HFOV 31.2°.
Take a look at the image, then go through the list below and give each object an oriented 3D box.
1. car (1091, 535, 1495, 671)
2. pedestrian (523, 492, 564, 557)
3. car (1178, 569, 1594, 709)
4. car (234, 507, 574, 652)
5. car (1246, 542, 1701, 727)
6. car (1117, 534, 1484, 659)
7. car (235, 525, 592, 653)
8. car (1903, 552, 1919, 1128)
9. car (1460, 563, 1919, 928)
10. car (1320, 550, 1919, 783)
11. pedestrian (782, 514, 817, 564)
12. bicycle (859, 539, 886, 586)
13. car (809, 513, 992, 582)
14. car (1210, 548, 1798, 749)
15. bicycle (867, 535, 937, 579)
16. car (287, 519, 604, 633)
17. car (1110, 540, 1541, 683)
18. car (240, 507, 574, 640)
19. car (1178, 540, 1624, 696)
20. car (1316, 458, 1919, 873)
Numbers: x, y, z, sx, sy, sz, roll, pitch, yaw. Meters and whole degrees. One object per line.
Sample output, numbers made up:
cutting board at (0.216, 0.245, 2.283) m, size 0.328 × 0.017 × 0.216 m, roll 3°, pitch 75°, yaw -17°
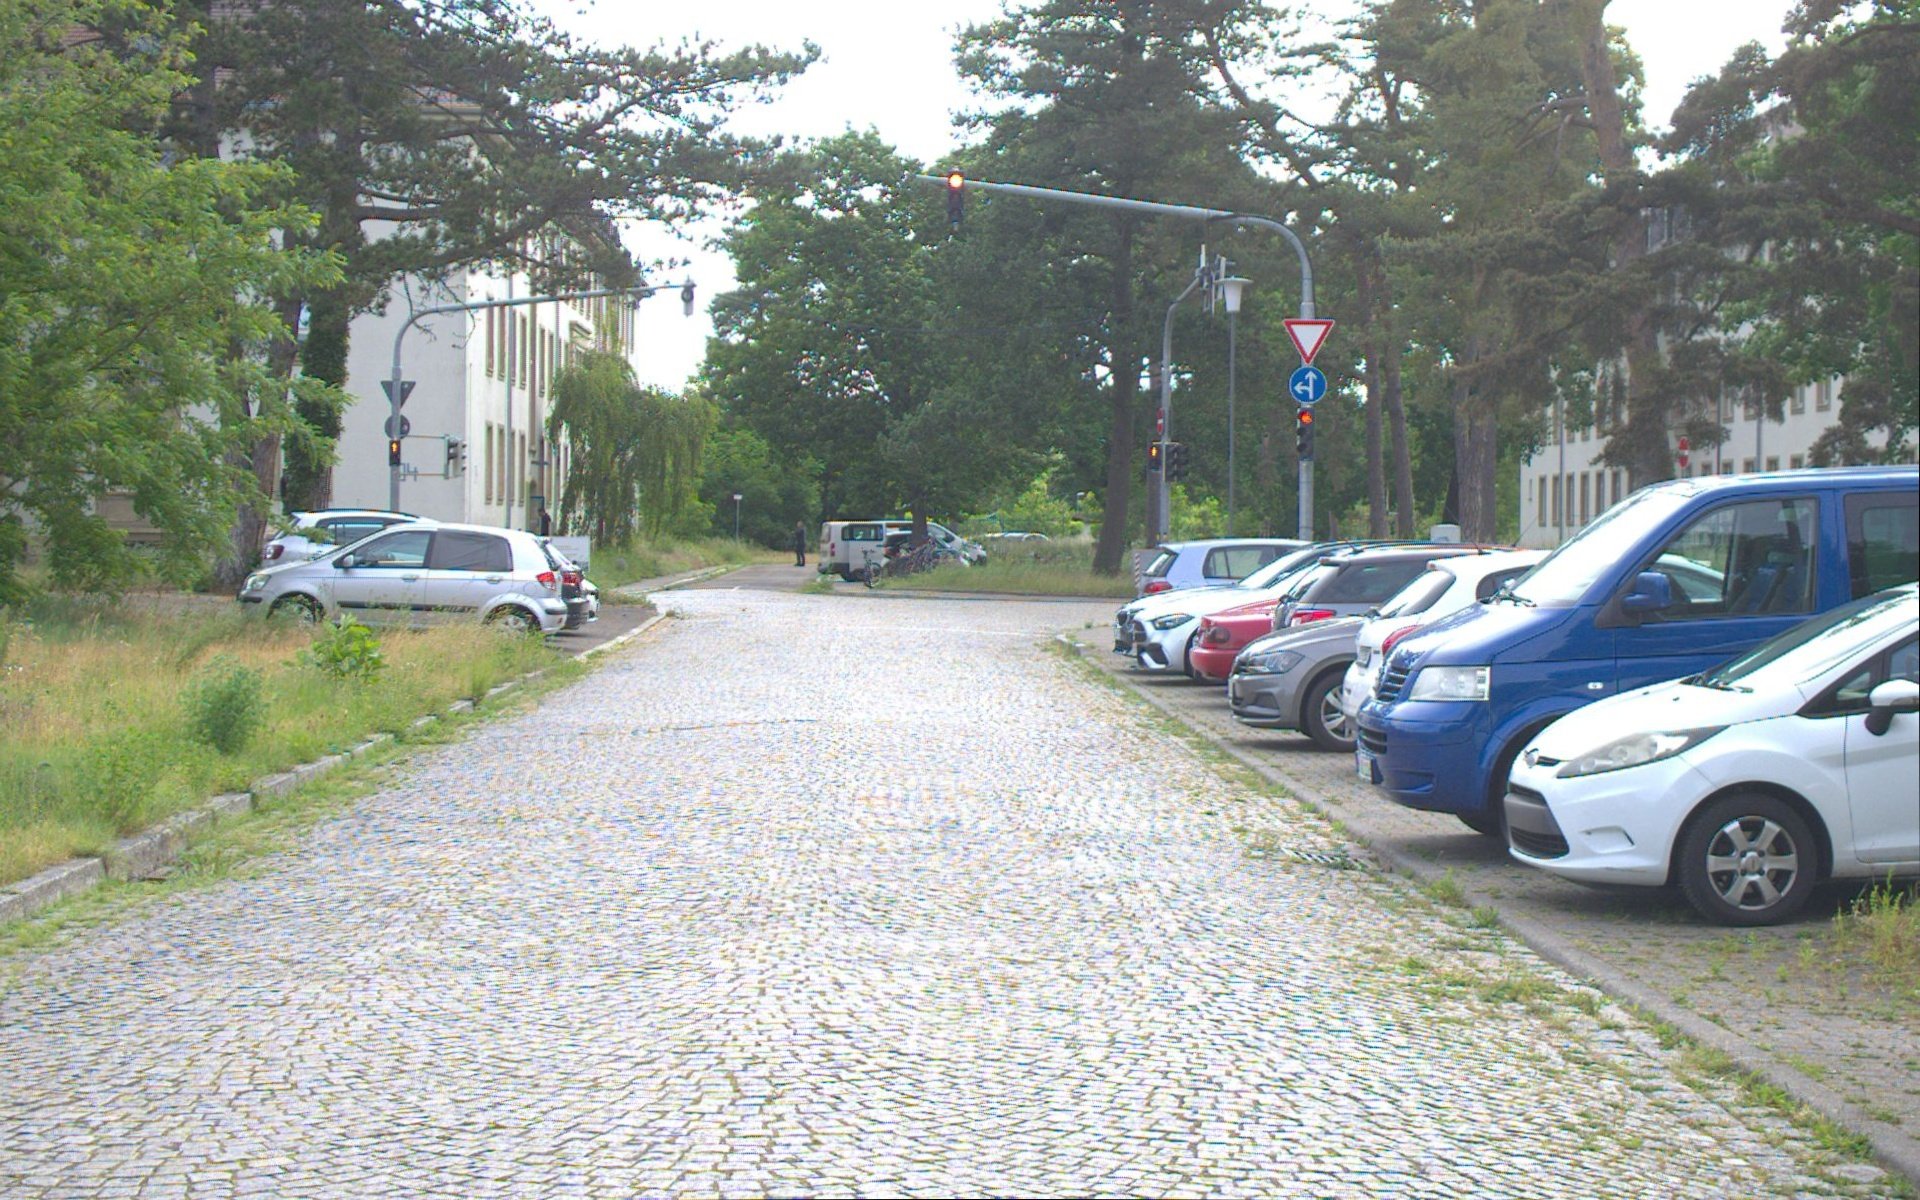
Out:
car at (3.737, 0.007, 38.842) m, size 4.227 × 1.474 × 1.710 m, roll 0°, pitch 1°, yaw -12°
pedestrian at (-12.792, -2.326, 105.658) m, size 1.074 × 1.952 × 1.121 m, roll 2°, pitch 1°, yaw -1°
car at (3.840, 0.339, 31.375) m, size 3.586 × 1.218 × 1.628 m, roll 0°, pitch 1°, yaw 0°
car at (-6.462, -0.252, 40.243) m, size 3.720 × 1.475 × 1.673 m, roll 3°, pitch 1°, yaw -4°
car at (4.242, 0.266, 28.755) m, size 3.505 × 1.482 × 1.743 m, roll 0°, pitch 1°, yaw -2°
car at (4.068, -0.062, 41.402) m, size 4.134 × 1.458 × 1.634 m, roll 0°, pitch 1°, yaw -6°
car at (-6.770, -0.160, 42.836) m, size 4.297 × 1.548 × 1.812 m, roll 0°, pitch 1°, yaw -7°
car at (4.803, 0.681, 8.782) m, size 4.203 × 1.589 × 1.953 m, roll 0°, pitch 1°, yaw -3°
car at (4.414, 0.585, 15.132) m, size 4.097 × 1.473 × 1.722 m, roll 0°, pitch 1°, yaw -4°
car at (4.343, 0.412, 22.985) m, size 3.653 × 1.473 × 1.766 m, roll 0°, pitch 1°, yaw -2°
pedestrian at (-6.457, -2.439, 138.049) m, size 1.239 × 1.952 × 1.121 m, roll 2°, pitch 1°, yaw -7°
bicycle at (-2.259, -0.968, 88.758) m, size 0.663 × 1.167 × 1.888 m, roll 2°, pitch 1°, yaw -1°
car at (-1.884, -1.653, 108.202) m, size 5.374 × 2.094 × 2.179 m, roll 1°, pitch 1°, yaw -13°
car at (4.022, 0.337, 25.883) m, size 4.130 × 1.442 × 1.766 m, roll 0°, pitch 1°, yaw -1°
bicycle at (-1.635, -1.225, 96.902) m, size 1.881 × 1.167 × 0.665 m, roll 2°, pitch 1°, yaw -7°
car at (-7.166, -0.351, 48.086) m, size 4.297 × 1.548 × 1.812 m, roll 0°, pitch 1°, yaw -7°
car at (3.797, 0.097, 36.076) m, size 4.184 × 1.432 × 1.756 m, roll 0°, pitch 1°, yaw -8°
car at (-7.284, -0.366, 45.627) m, size 4.297 × 1.726 × 1.653 m, roll 0°, pitch 1°, yaw -6°
car at (4.276, 0.152, 33.724) m, size 4.104 × 1.471 × 1.685 m, roll 0°, pitch 1°, yaw -3°
car at (4.367, 0.287, 17.671) m, size 4.795 × 1.997 × 1.967 m, roll 0°, pitch 1°, yaw -3°
